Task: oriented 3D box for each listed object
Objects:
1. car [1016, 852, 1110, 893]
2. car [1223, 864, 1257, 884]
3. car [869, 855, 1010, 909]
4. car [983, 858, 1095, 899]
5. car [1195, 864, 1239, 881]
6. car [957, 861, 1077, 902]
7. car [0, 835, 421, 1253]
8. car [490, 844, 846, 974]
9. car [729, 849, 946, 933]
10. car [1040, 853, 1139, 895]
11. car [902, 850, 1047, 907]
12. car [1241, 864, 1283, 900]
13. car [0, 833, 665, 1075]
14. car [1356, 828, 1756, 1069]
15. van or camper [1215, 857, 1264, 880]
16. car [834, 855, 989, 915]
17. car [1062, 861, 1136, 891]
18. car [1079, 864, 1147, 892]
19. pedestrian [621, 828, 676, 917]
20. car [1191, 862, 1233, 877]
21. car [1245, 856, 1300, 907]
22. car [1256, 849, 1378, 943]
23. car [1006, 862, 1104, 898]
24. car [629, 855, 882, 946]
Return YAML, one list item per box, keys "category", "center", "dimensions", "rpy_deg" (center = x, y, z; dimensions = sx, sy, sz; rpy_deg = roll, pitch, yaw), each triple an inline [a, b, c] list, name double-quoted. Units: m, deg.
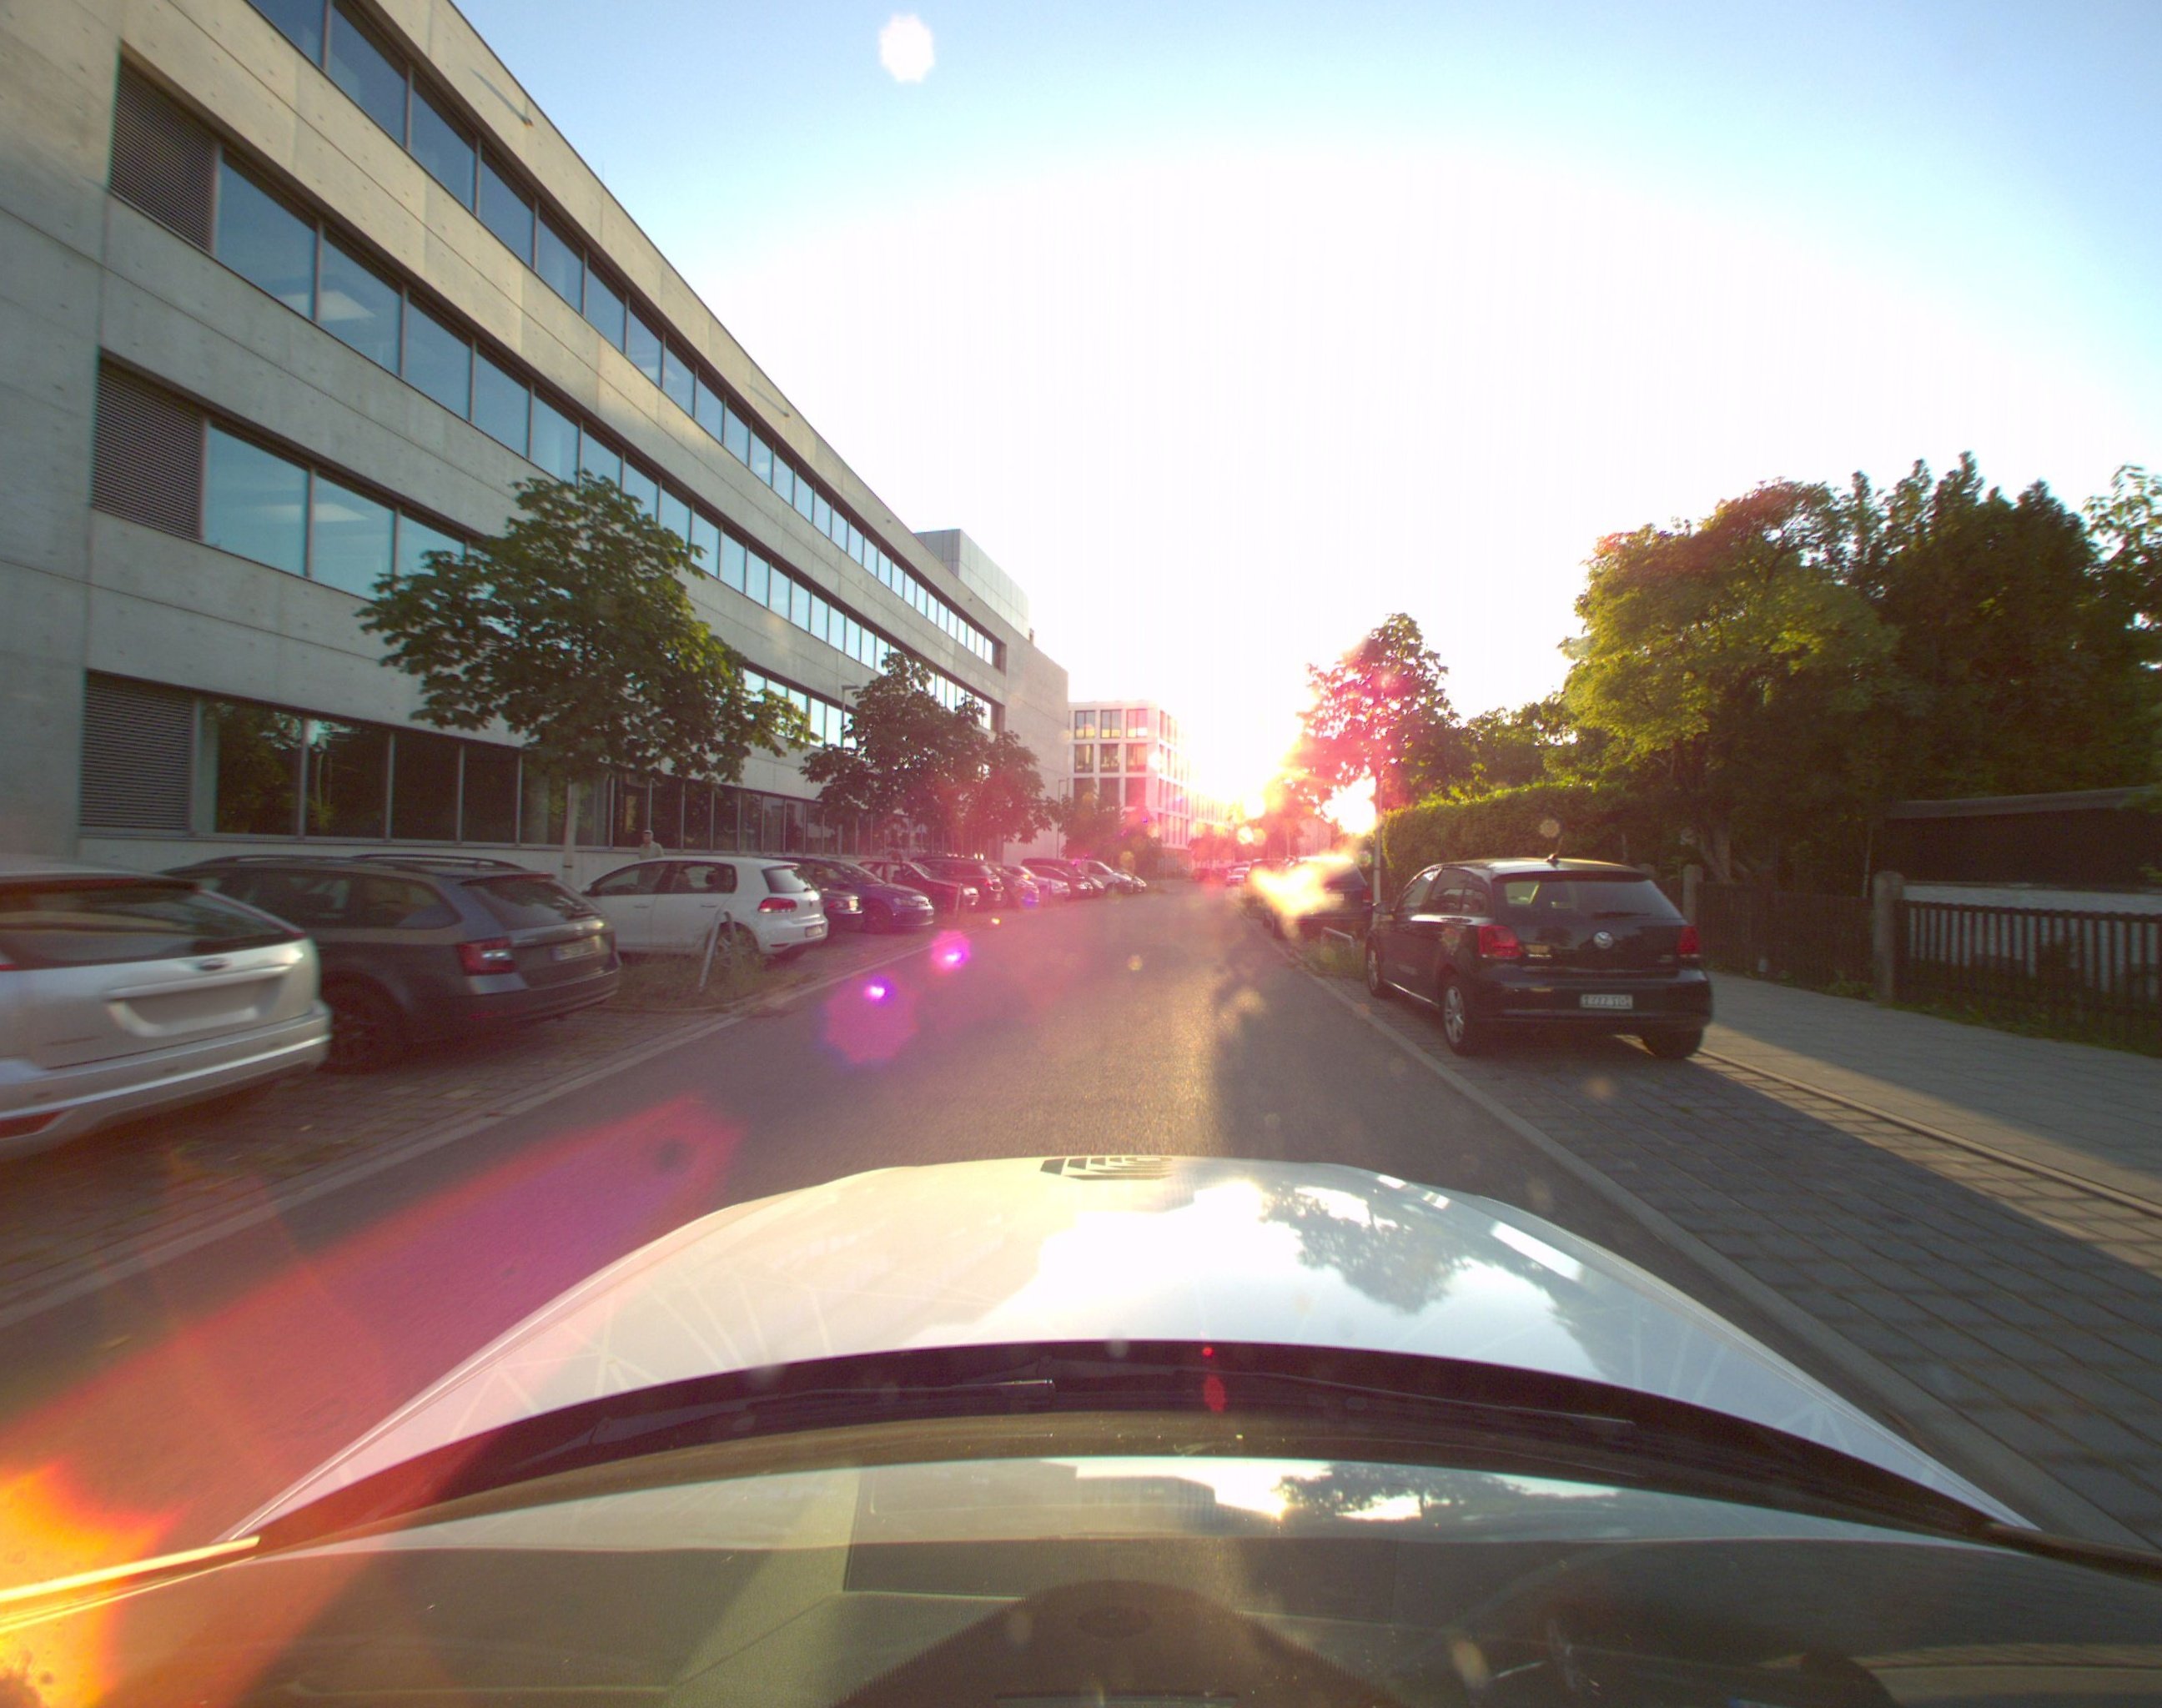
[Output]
- category: "car"
  center: [-0.870, 0.921, 39.791]
  dimensions: [4.218, 1.742, 1.730]
  rpy_deg: [3, -1, 12]
- category: "car"
  center: [14.310, 1.838, 73.091]
  dimensions: [1.935, 1.686, 4.747]
  rpy_deg: [-1, -3, 23]
- category: "car"
  center: [-4.124, 0.804, 23.983]
  dimensions: [3.681, 1.458, 1.683]
  rpy_deg: [1, -1, 8]
- category: "car"
  center: [-1.767, 1.039, 34.885]
  dimensions: [4.364, 1.499, 1.770]
  rpy_deg: [3, -1, 16]
- category: "car"
  center: [13.364, 1.773, 80.016]
  dimensions: [4.018, 1.479, 1.776]
  rpy_deg: [2, 0, 18]
- category: "car"
  center: [-2.519, 1.065, 32.484]
  dimensions: [4.404, 1.464, 1.769]
  rpy_deg: [1, 0, 12]
- category: "car"
  center: [-6.047, 0.663, 3.957]
  dimensions: [4.073, 1.528, 1.846]
  rpy_deg: [2, -1, 0]
- category: "car"
  center: [-5.523, 0.689, 11.219]
  dimensions: [3.969, 1.511, 1.762]
  rpy_deg: [2, 0, 4]
- category: "car"
  center: [-4.942, 0.719, 16.858]
  dimensions: [3.850, 1.511, 1.763]
  rpy_deg: [2, 0, 6]
- category: "car"
  center: [0.485, 1.084, 44.562]
  dimensions: [5.041, 1.947, 1.895]
  rpy_deg: [3, -1, 13]
- category: "car"
  center: [-3.445, 0.779, 26.688]
  dimensions: [4.284, 1.696, 1.901]
  rpy_deg: [1, -1, 8]
- category: "car"
  center: [8.042, 1.205, 35.958]
  dimensions: [1.681, 1.510, 4.208]
  rpy_deg: [-1, -1, 14]
- category: "car"
  center: [-5.664, 0.667, 6.314]
  dimensions: [3.985, 1.512, 1.585]
  rpy_deg: [2, 1, 0]
- category: "car"
  center: [3.702, 0.617, 7.147]
  dimensions: [1.731, 1.552, 3.646]
  rpy_deg: [0, 0, 7]
- category: "van or camper"
  center: [18.704, 1.692, 96.317]
  dimensions: [5.406, 2.484, 1.784]
  rpy_deg: [2, 0, 21]
- category: "car"
  center: [-4.519, 0.818, 21.971]
  dimensions: [3.682, 1.458, 1.715]
  rpy_deg: [1, -1, 7]
- category: "car"
  center: [1.070, 1.269, 47.213]
  dimensions: [3.960, 1.522, 1.611]
  rpy_deg: [3, -1, 12]
- category: "car"
  center: [1.979, 1.472, 49.793]
  dimensions: [3.858, 1.489, 1.657]
  rpy_deg: [2, -1, 14]
- category: "pedestrian"
  center: [-8.951, 0.379, 16.888]
  dimensions: [0.642, 1.784, 0.726]
  rpy_deg: [2, -1, 6]
- category: "car"
  center: [13.615, 1.614, 84.827]
  dimensions: [4.016, 1.479, 1.776]
  rpy_deg: [2, -1, 21]
- category: "car"
  center: [5.993, 0.851, 25.732]
  dimensions: [1.567, 1.510, 3.507]
  rpy_deg: [-1, -1, 12]
- category: "car"
  center: [4.398, 0.699, 15.815]
  dimensions: [1.701, 1.550, 4.559]
  rpy_deg: [0, 0, 9]
- category: "car"
  center: [-1.175, 1.193, 37.679]
  dimensions: [4.116, 1.404, 1.730]
  rpy_deg: [3, -1, 12]
- category: "car"
  center: [-5.507, 0.764, 14.094]
  dimensions: [3.619, 1.362, 1.686]
  rpy_deg: [2, 0, 1]
